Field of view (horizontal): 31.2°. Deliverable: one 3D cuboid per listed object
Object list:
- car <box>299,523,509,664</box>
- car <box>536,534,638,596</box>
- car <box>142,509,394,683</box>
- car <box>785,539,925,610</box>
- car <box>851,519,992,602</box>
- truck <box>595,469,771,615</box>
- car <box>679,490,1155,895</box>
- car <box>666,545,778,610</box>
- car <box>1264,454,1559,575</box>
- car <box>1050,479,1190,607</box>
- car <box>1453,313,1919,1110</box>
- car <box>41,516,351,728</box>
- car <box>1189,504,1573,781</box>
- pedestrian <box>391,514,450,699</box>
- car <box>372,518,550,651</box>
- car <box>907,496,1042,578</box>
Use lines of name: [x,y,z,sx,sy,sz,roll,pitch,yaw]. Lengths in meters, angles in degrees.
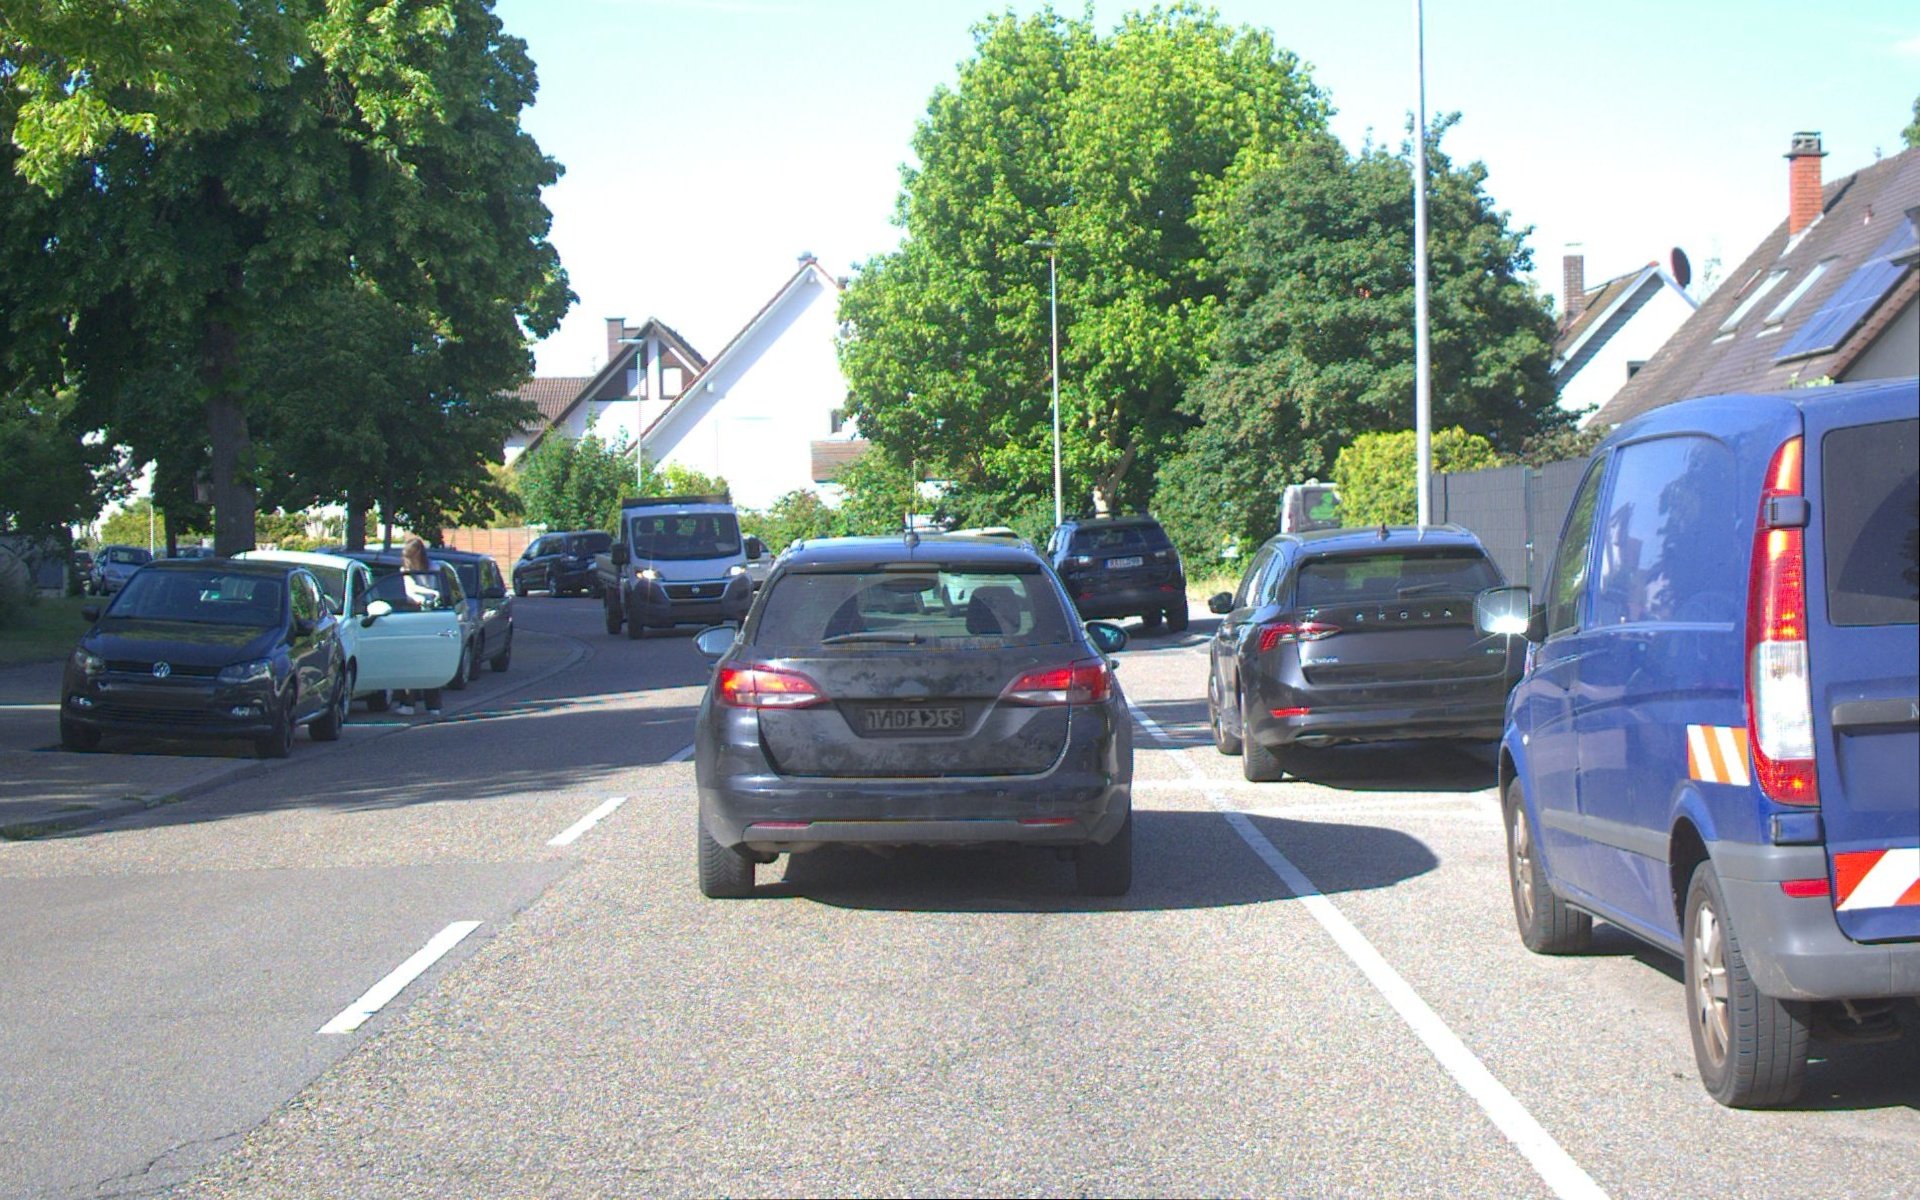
car: [-6.358,-0.087,39.687,1.657,1.505,4.000,1,0,1]
car: [-10.163,-0.940,93.494,1.902,1.660,4.192,0,0,-18]
car: [-6.478,-0.012,32.562,1.700,1.518,4.052,-1,-1,-2]
car: [-2.298,-0.548,74.081,2.005,1.470,4.295,0,0,-16]
car: [-0.810,-0.779,68.784,1.911,1.595,4.295,0,0,-13]
truck: [-4.619,-0.964,58.267,2.130,2.326,6.442,-1,1,3]
car: [-0.172,0.338,15.129,1.761,1.486,4.291,1,0,0]
car: [-5.773,-0.540,82.975,1.819,1.529,4.260,0,0,-17]
car: [7.567,-1.424,57.963,4.680,1.977,2.143,0,0,0]
car: [2.200,-0.781,48.250,1.778,1.718,4.294,0,0,0]
car: [2.773,0.245,10.575,1.836,1.901,4.698,1,1,0]
car: [-5.908,0.186,27.006,1.700,1.475,4.052,2,-1,-3]
car: [2.440,0.177,21.076,1.765,1.475,4.992,-1,1,0]
pedestrian: [-5.177,0.070,33.003,0.504,1.755,0.695,0,-1,-4]
car: [-6.407,-0.232,44.493,1.567,1.524,3.918,4,1,1]
car: [0.225,-1.150,64.118,1.760,1.475,4.295,0,0,-10]
